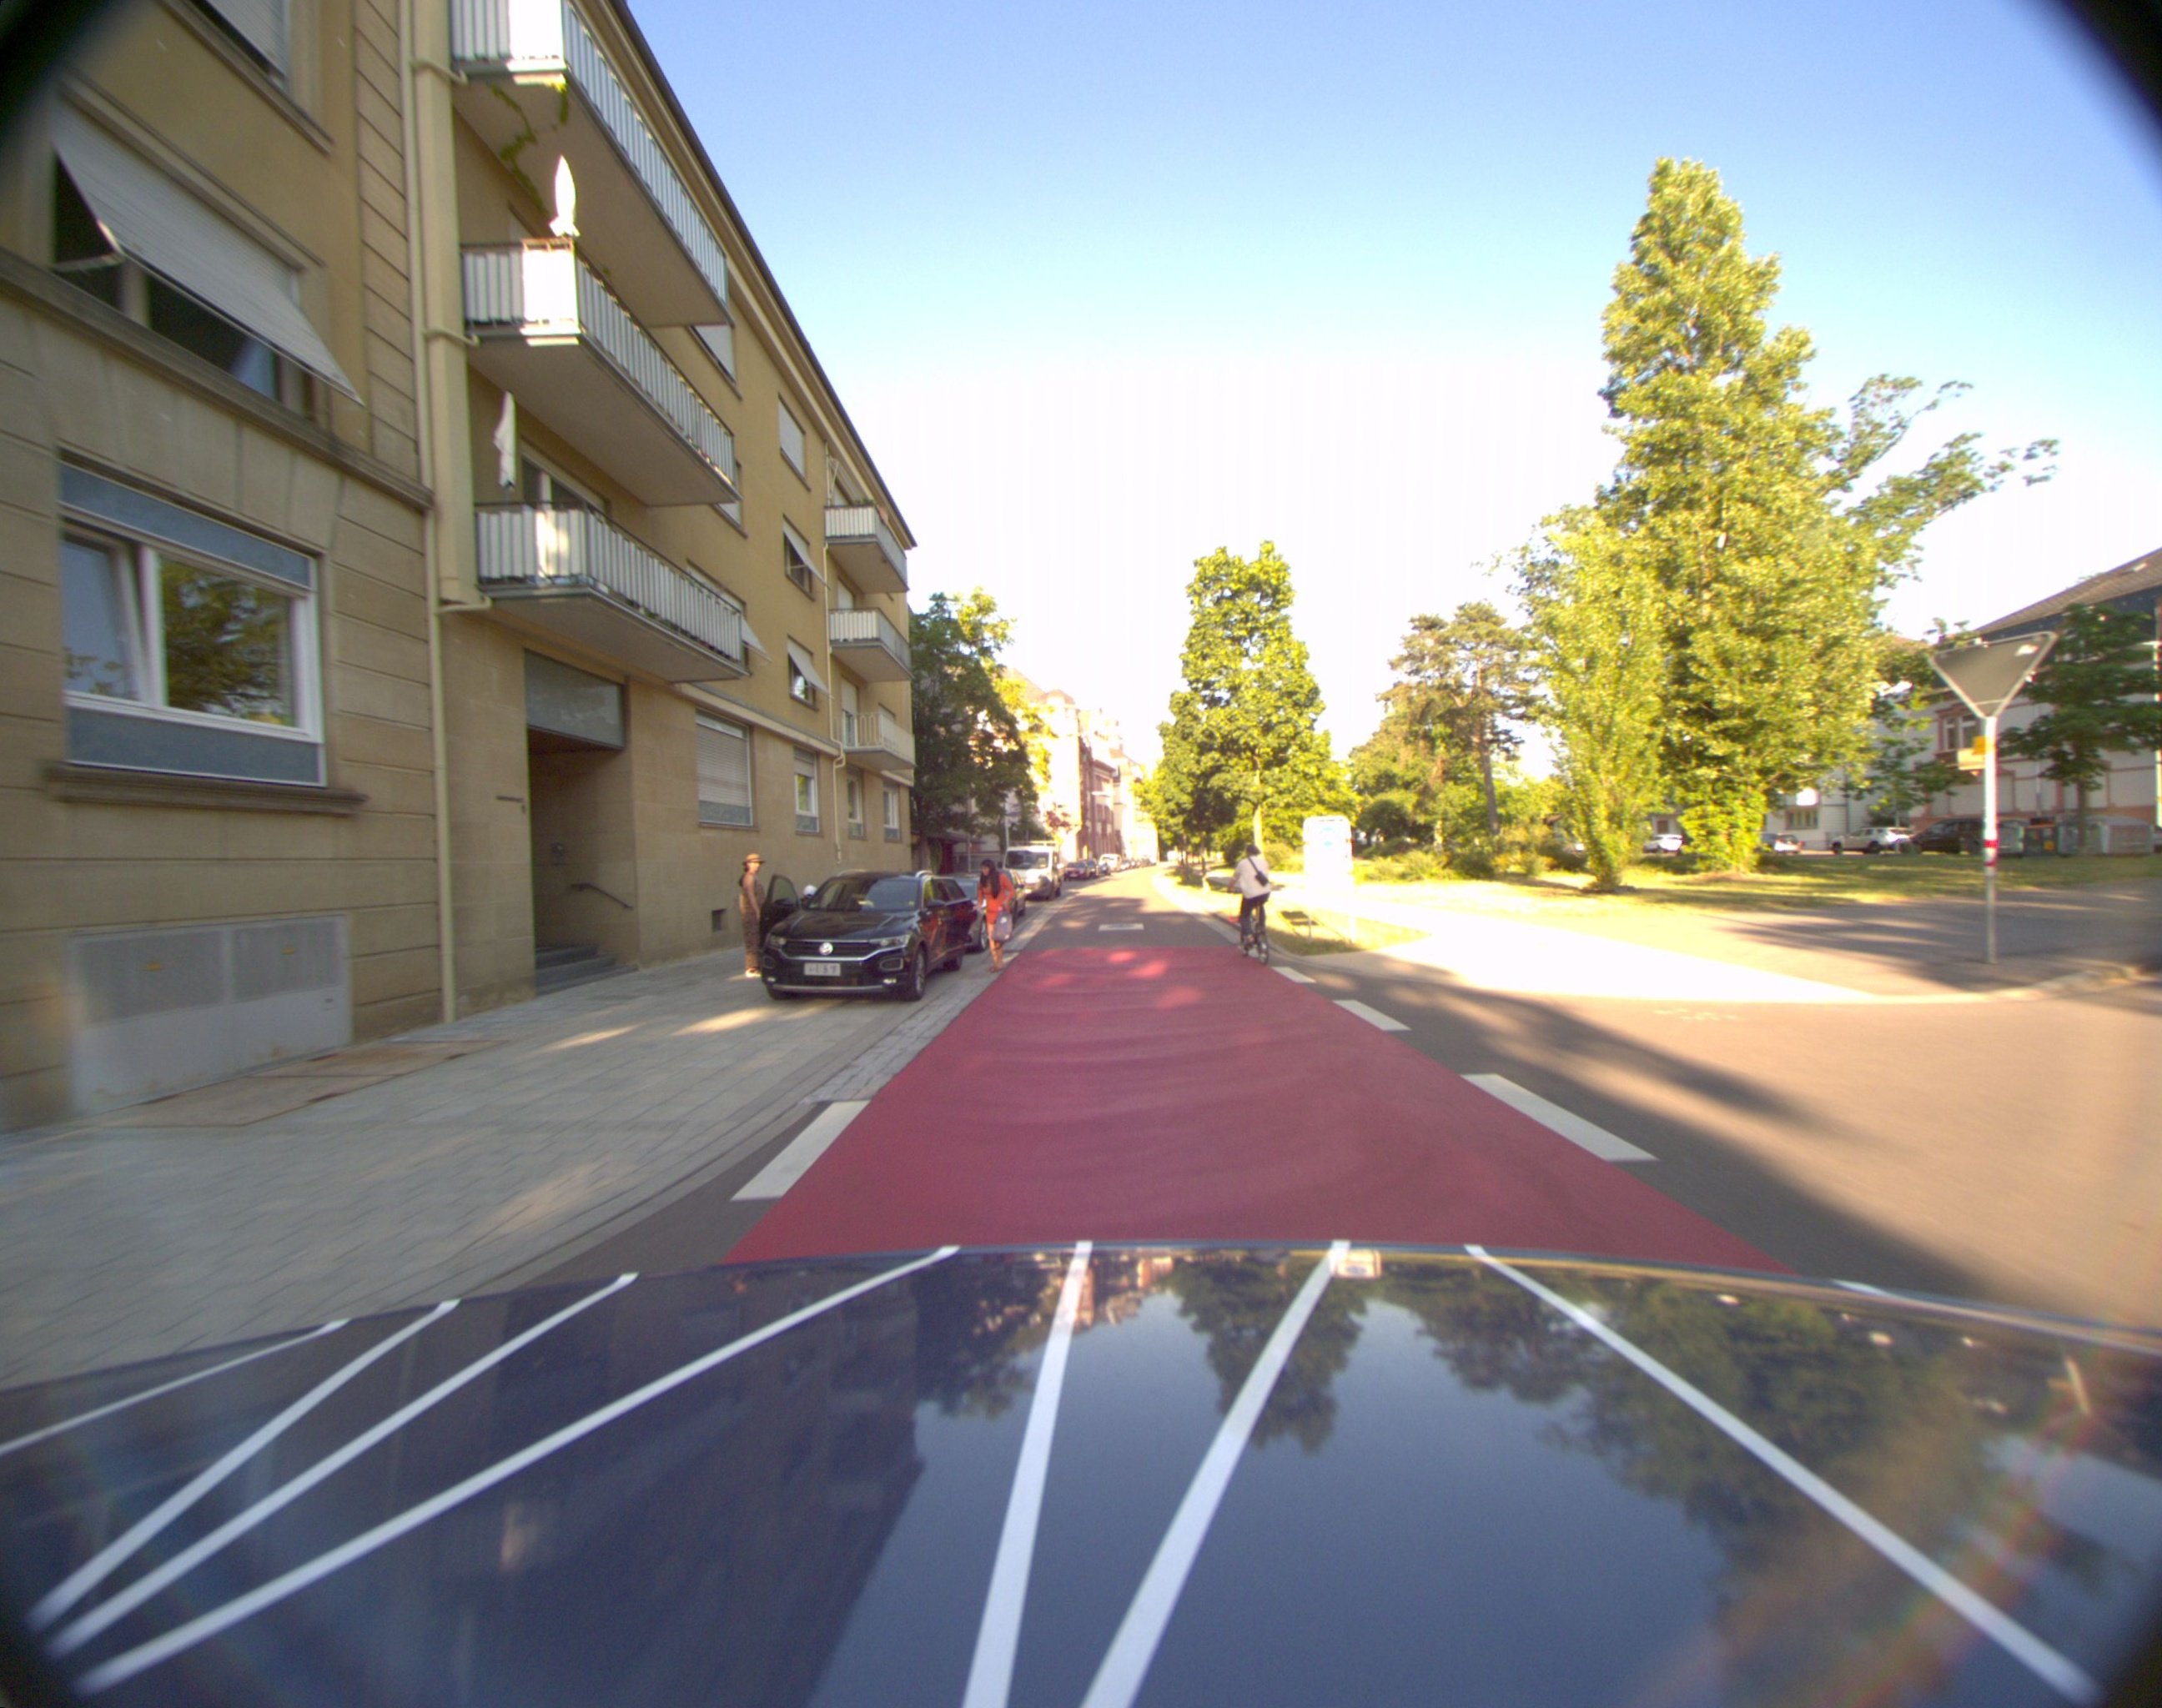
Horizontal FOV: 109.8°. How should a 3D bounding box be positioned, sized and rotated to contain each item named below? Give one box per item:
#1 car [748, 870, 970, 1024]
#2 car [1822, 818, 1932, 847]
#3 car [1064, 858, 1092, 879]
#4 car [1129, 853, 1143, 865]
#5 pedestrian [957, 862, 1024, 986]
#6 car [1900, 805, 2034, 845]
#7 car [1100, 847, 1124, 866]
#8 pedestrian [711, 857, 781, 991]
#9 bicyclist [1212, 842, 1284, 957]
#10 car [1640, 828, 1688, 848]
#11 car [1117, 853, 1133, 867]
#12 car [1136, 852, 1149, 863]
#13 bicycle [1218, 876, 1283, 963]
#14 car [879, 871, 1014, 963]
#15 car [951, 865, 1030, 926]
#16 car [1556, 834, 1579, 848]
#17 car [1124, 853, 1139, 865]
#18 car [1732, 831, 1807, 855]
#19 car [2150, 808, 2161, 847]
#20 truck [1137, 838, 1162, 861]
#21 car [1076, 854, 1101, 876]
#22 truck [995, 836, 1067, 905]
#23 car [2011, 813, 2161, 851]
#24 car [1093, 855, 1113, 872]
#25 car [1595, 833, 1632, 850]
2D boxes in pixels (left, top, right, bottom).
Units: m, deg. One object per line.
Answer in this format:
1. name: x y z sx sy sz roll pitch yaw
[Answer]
1. car: -2.716 1.045 10.371 1.707 1.616 4.349 0 -1 1
2. car: 47.052 -1.288 45.077 1.889 1.565 4.599 -2 2 4
3. car: -0.195 1.019 55.552 1.610 1.349 3.549 -2 1 7
4. car: 7.509 0.660 103.596 1.582 1.499 3.848 -2 1 8
5. pedestrian: -1.350 1.024 11.487 0.778 1.759 0.955 -3 0 2
6. car: 46.012 -1.505 39.669 1.888 1.883 4.978 -2 2 11
7. car: 3.443 0.267 83.720 2.118 1.942 4.763 -2 1 8
8. pedestrian: -4.808 0.974 10.896 0.733 1.819 0.555 -3 1 -35
9. bicyclist: 2.571 0.681 11.773 0.939 1.693 0.906 -3 1 7
10. car: 52.419 -1.467 68.391 1.887 1.565 4.603 -2 2 16
11. car: 5.421 0.696 92.784 1.582 1.499 3.848 -2 1 7
12. car: 8.956 0.539 110.516 1.582 1.499 3.848 -2 1 8
13. bicycle: 2.584 0.957 11.783 0.739 1.129 2.105 -3 0 7
14. car: -2.509 1.132 15.264 1.707 1.412 4.349 0 1 3
15. car: -2.400 1.062 21.001 1.707 1.412 4.035 0 1 0
16. car: 60.948 -1.628 95.278 1.886 1.565 4.605 -1 2 26
17. car: 6.555 0.634 98.590 1.582 1.499 3.848 -2 1 8
18. car: 49.009 -0.817 54.229 1.888 1.565 4.601 -2 2 11
19. car: 44.701 -1.025 28.849 1.889 1.565 4.599 -2 2 4
20. truck: 10.880 -0.721 120.025 3.018 3.423 7.629 -2 1 12
21. car: 0.633 0.863 61.016 1.610 1.608 3.952 -2 1 7
22. truck: -1.965 0.572 32.142 2.133 2.549 6.877 -2 1 3
23. car: 45.368 -1.006 34.142 1.888 1.565 4.600 -2 2 8
24. car: 2.054 0.899 71.308 1.509 1.437 3.731 -2 1 7
25. car: 55.001 -1.319 78.539 1.887 1.565 4.603 -1 2 18
